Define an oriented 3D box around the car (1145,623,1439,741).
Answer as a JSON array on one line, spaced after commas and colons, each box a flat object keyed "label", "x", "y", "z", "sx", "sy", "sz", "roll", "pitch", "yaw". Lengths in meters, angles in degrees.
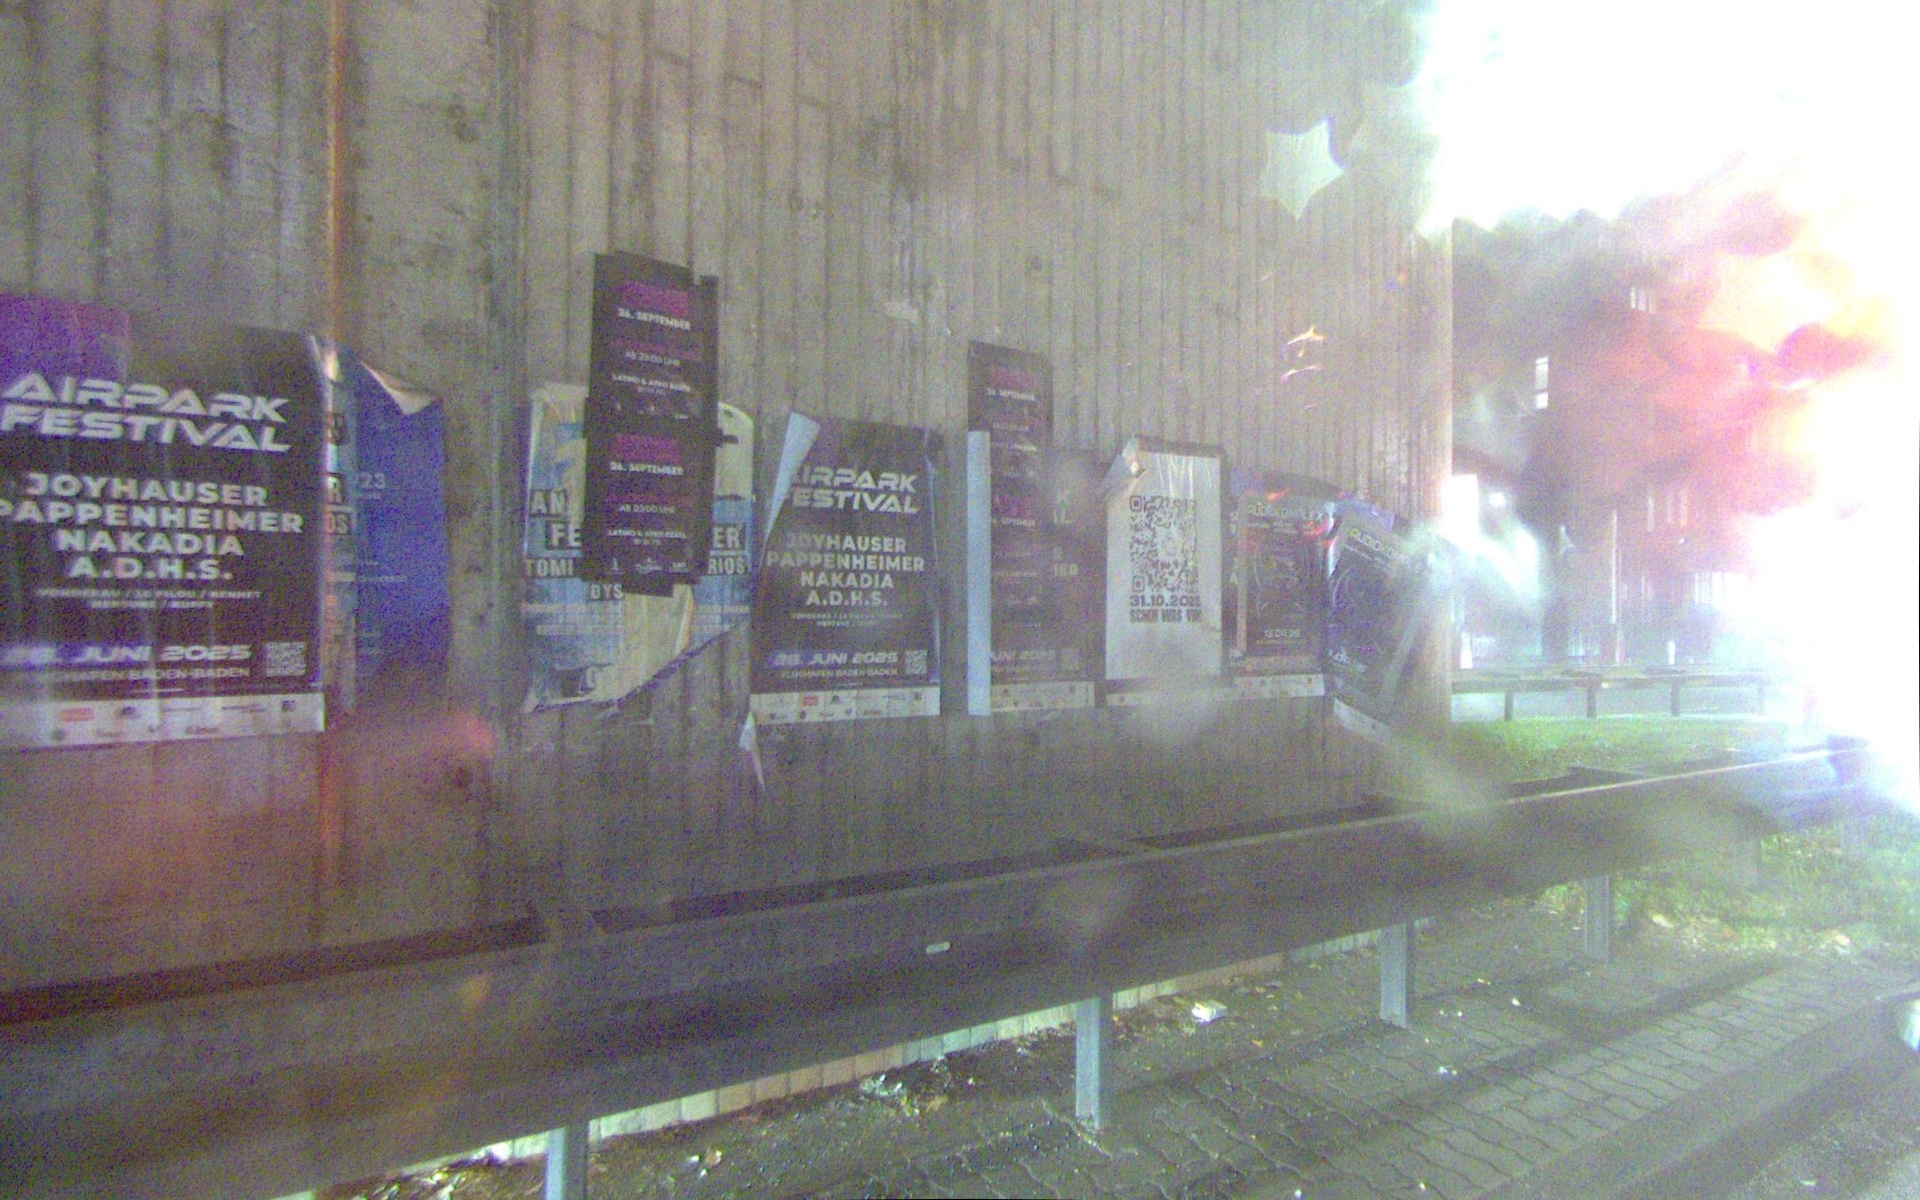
[{"label": "car", "x": 5.163, "y": 1.212, "z": 15.744, "sx": 4.017, "sy": 1.609, "sz": 1.905, "roll": 0, "pitch": -2, "yaw": -19}]
